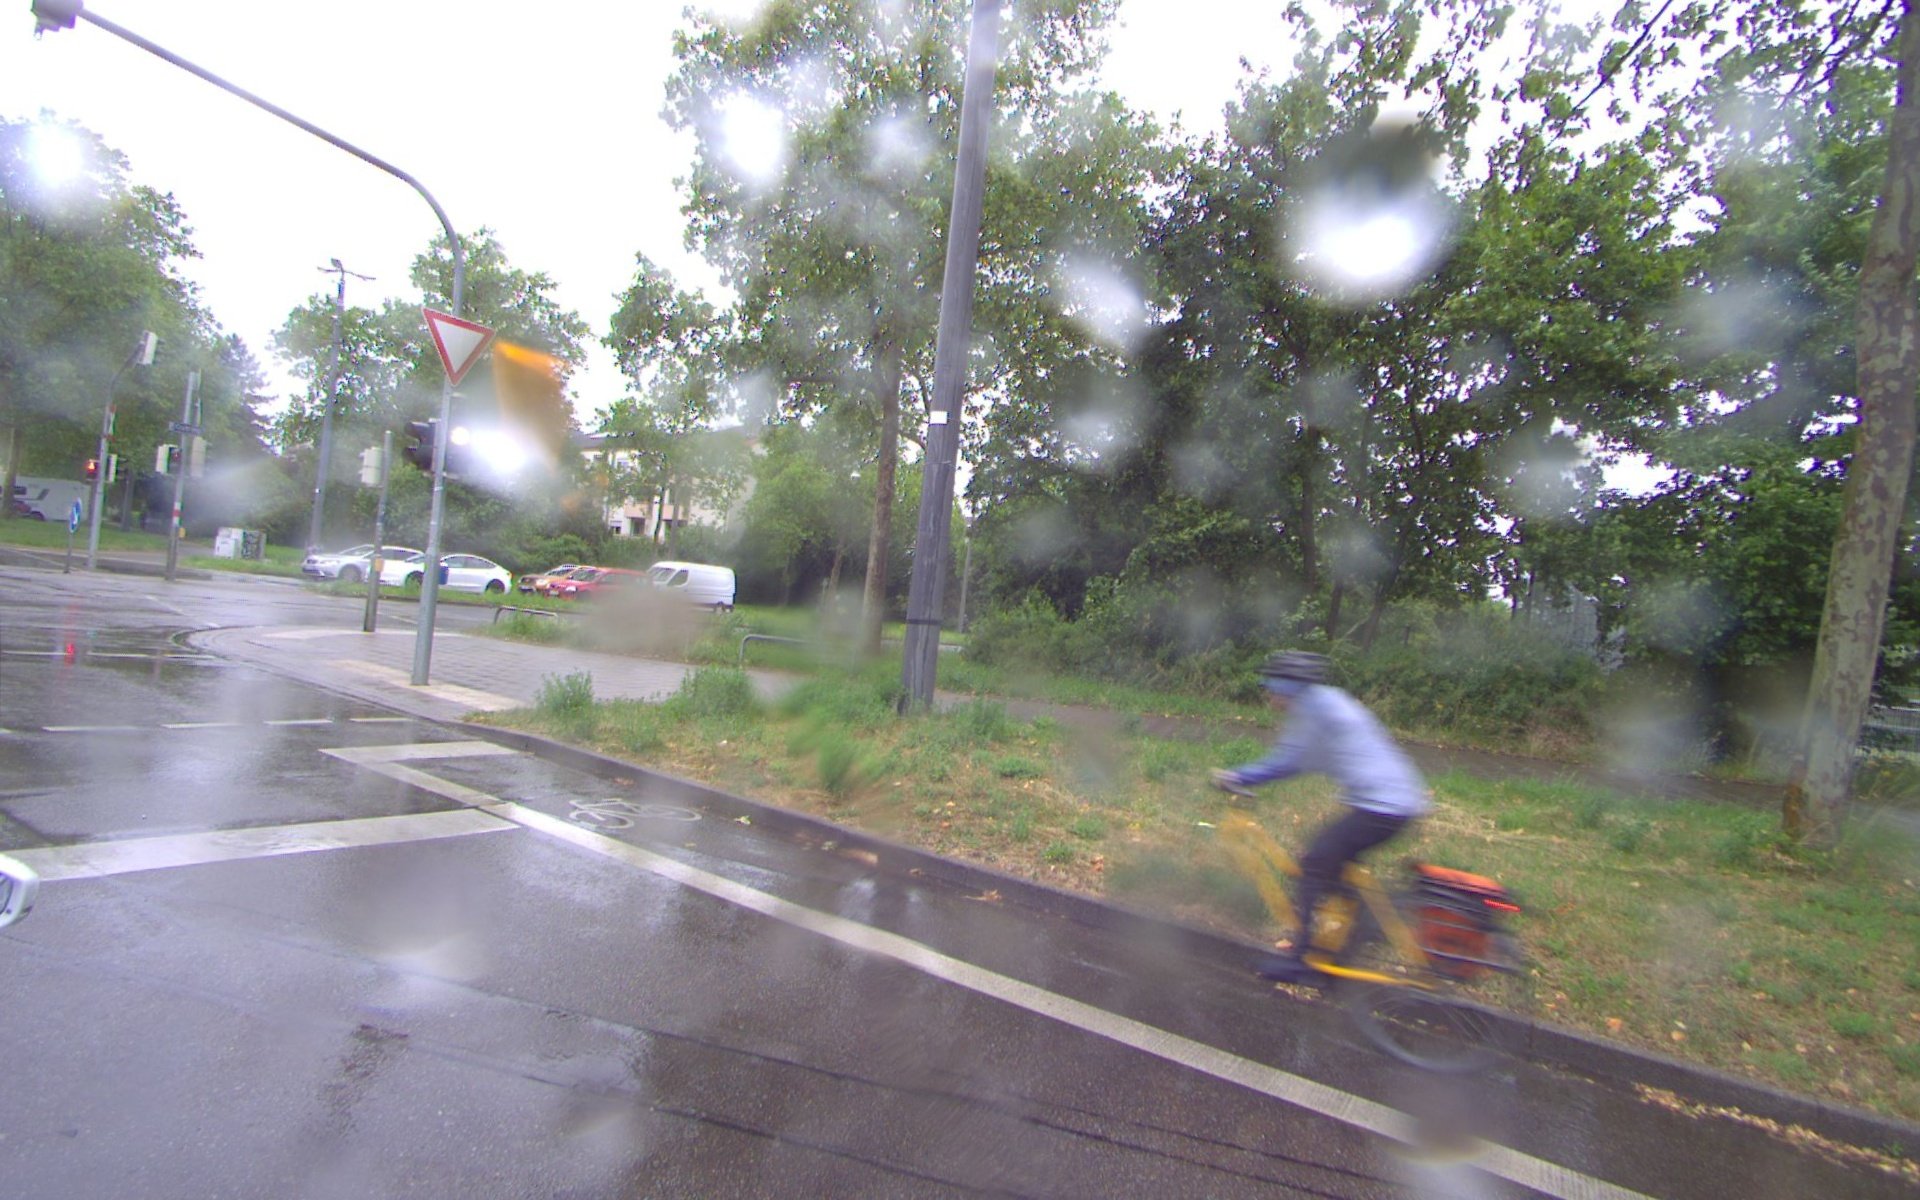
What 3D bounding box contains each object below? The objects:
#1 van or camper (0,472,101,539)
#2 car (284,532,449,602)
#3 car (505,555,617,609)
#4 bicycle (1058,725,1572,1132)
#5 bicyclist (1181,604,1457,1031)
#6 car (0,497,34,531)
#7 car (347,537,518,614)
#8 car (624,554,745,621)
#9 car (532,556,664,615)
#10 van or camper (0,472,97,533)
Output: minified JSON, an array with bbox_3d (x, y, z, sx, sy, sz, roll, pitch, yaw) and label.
[{"bbox_3d":[-56.904,-5.907,60.770,7.296,3.215,3.226,9,-2,-40],"label":"van or camper"},{"bbox_3d":[-20.167,-1.070,34.388,1.900,1.710,4.407,7,-2,26],"label":"car"},{"bbox_3d":[-16.387,-0.695,41.502,1.759,1.625,4.069,7,-2,26],"label":"car"},{"bbox_3d":[1.458,1.232,4.269,1.854,1.130,0.692,6,-2,32],"label":"bicycle"},{"bbox_3d":[1.529,0.840,4.254,0.830,1.523,0.692,6,-1,32],"label":"bicyclist"},{"bbox_3d":[-55.839,-5.153,57.136,4.424,1.736,1.980,9,-2,-37],"label":"car"},{"bbox_3d":[-17.163,-0.748,32.991,1.900,1.849,4.608,7,-2,26],"label":"car"},{"bbox_3d":[-12.953,-0.540,47.702,1.966,2.419,5.619,6,-2,29],"label":"car"},{"bbox_3d":[-13.784,-0.507,38.601,1.760,1.625,4.615,6,-2,29],"label":"car"},{"bbox_3d":[-63.200,-6.721,67.566,7.388,3.215,3.231,9,-2,-36],"label":"van or camper"}]
